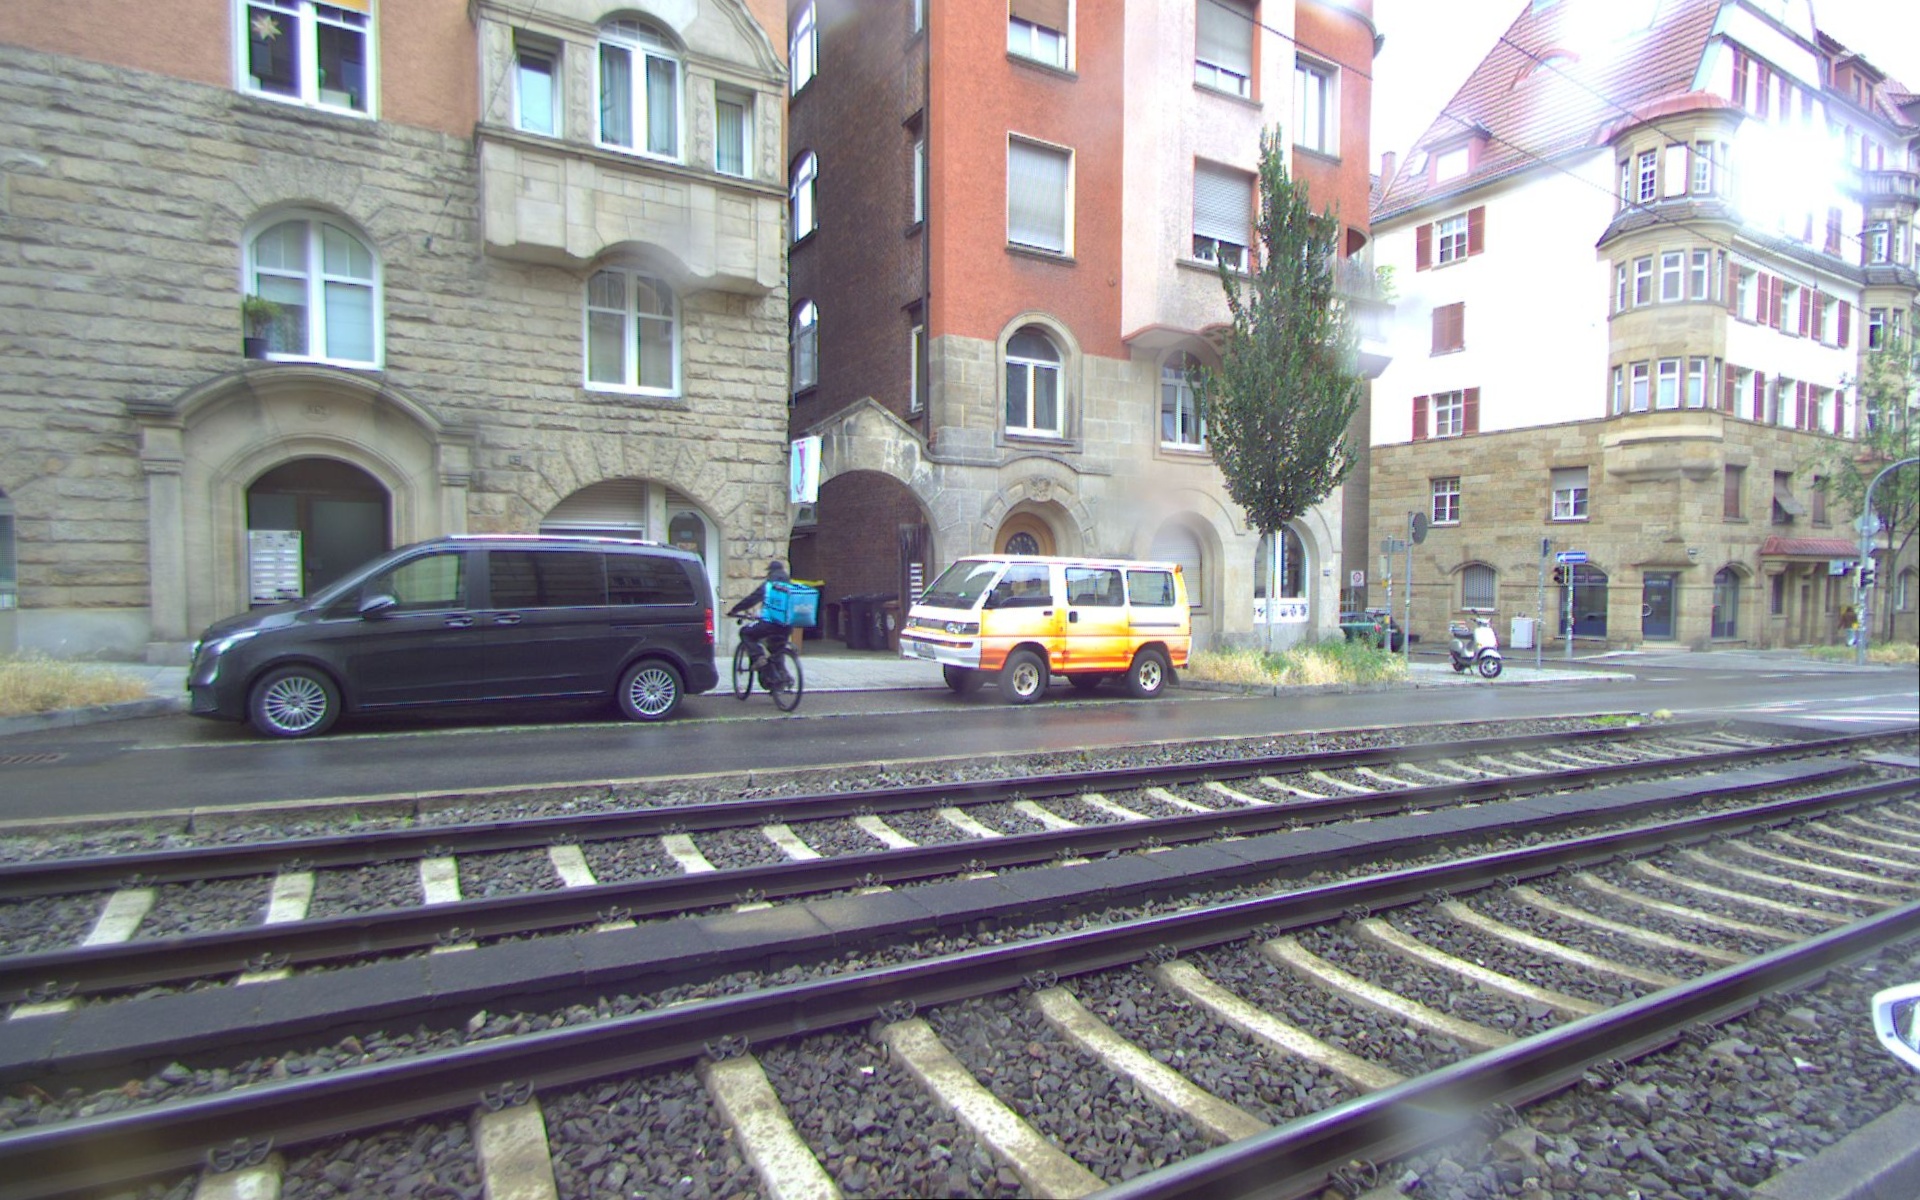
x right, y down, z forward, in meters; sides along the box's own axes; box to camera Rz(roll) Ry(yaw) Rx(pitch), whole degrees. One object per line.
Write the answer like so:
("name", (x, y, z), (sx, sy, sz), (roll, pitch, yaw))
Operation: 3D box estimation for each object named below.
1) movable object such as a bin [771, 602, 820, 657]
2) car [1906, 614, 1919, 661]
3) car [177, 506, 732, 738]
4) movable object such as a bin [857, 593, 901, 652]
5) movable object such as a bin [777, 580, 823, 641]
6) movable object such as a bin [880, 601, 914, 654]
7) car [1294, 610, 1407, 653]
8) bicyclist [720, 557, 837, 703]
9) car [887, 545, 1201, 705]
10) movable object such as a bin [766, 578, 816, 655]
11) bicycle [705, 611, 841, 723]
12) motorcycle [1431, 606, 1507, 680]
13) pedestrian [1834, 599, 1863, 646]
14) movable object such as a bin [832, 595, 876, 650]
("movable object such as a bin", (-2.895, 0.514, 17.595), (0.627, 0.918, 0.793), (1, 1, -27))
("car", (34.164, 1.324, 34.359), (3.994, 1.573, 1.741), (2, 0, -34))
("car", (-5.054, 0.244, 10.599), (4.769, 1.968, 1.984), (2, 0, -30))
("movable object such as a bin", (-1.549, 0.431, 19.143), (0.607, 1.090, 0.679), (1, -1, -27))
("movable object such as a bin", (-3.614, 0.226, 22.661), (0.676, 1.324, 1.154), (1, 1, -26))
("movable object such as a bin", (-1.176, 0.506, 18.636), (0.442, 0.957, 0.557), (1, -1, -27))
("car", (14.457, 1.141, 37.348), (1.683, 1.423, 3.618), (2, 0, -34))
("bicyclist", (-2.173, 0.335, 11.959), (0.879, 1.618, 1.240), (1, 0, -37))
("car", (1.272, 0.370, 14.443), (4.295, 2.001, 1.721), (2, 0, -32))
("movable object such as a bin", (-3.110, 0.292, 18.467), (0.648, 1.360, 0.903), (1, 1, -27))
("bicycle", (-2.315, 0.766, 12.220), (0.818, 1.202, 2.016), (2, 0, -36))
("motorcycle", (10.102, 0.824, 20.005), (0.612, 1.384, 1.596), (2, 0, -3))
("pedestrian", (32.159, 0.818, 36.354), (0.696, 1.695, 0.626), (2, 0, -38))
("movable object such as a bin", (-2.087, 0.435, 19.690), (0.607, 1.053, 0.793), (1, -1, -27))
